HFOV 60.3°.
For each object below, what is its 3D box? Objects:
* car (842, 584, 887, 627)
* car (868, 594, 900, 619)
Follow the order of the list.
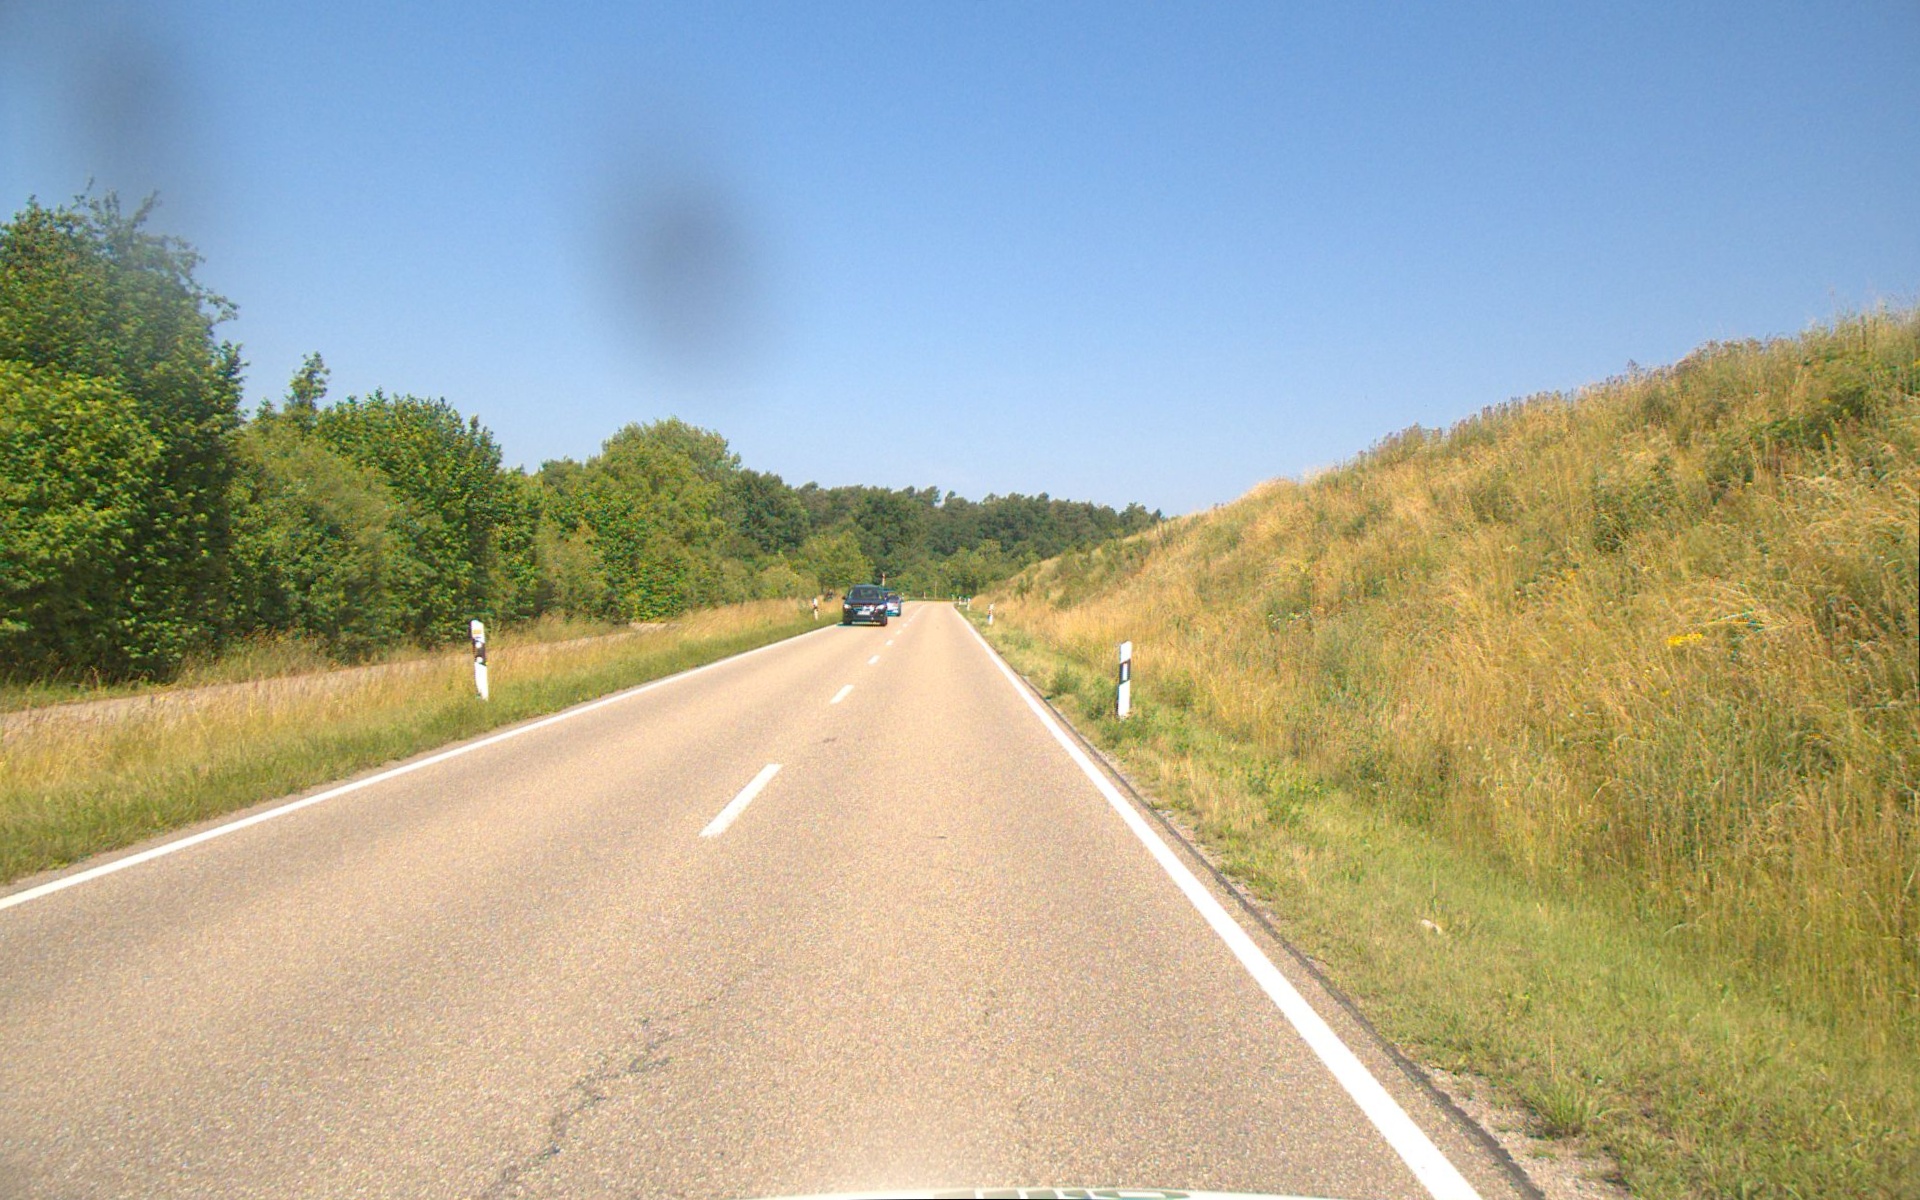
[{"bbox_3d":[-3.970,0.202,69.046,1.681,1.675,3.914,1,0,-1],"label":"car"},{"bbox_3d":[-4.416,0.358,96.415,1.688,1.377,3.999,2,0,-1],"label":"car"}]
